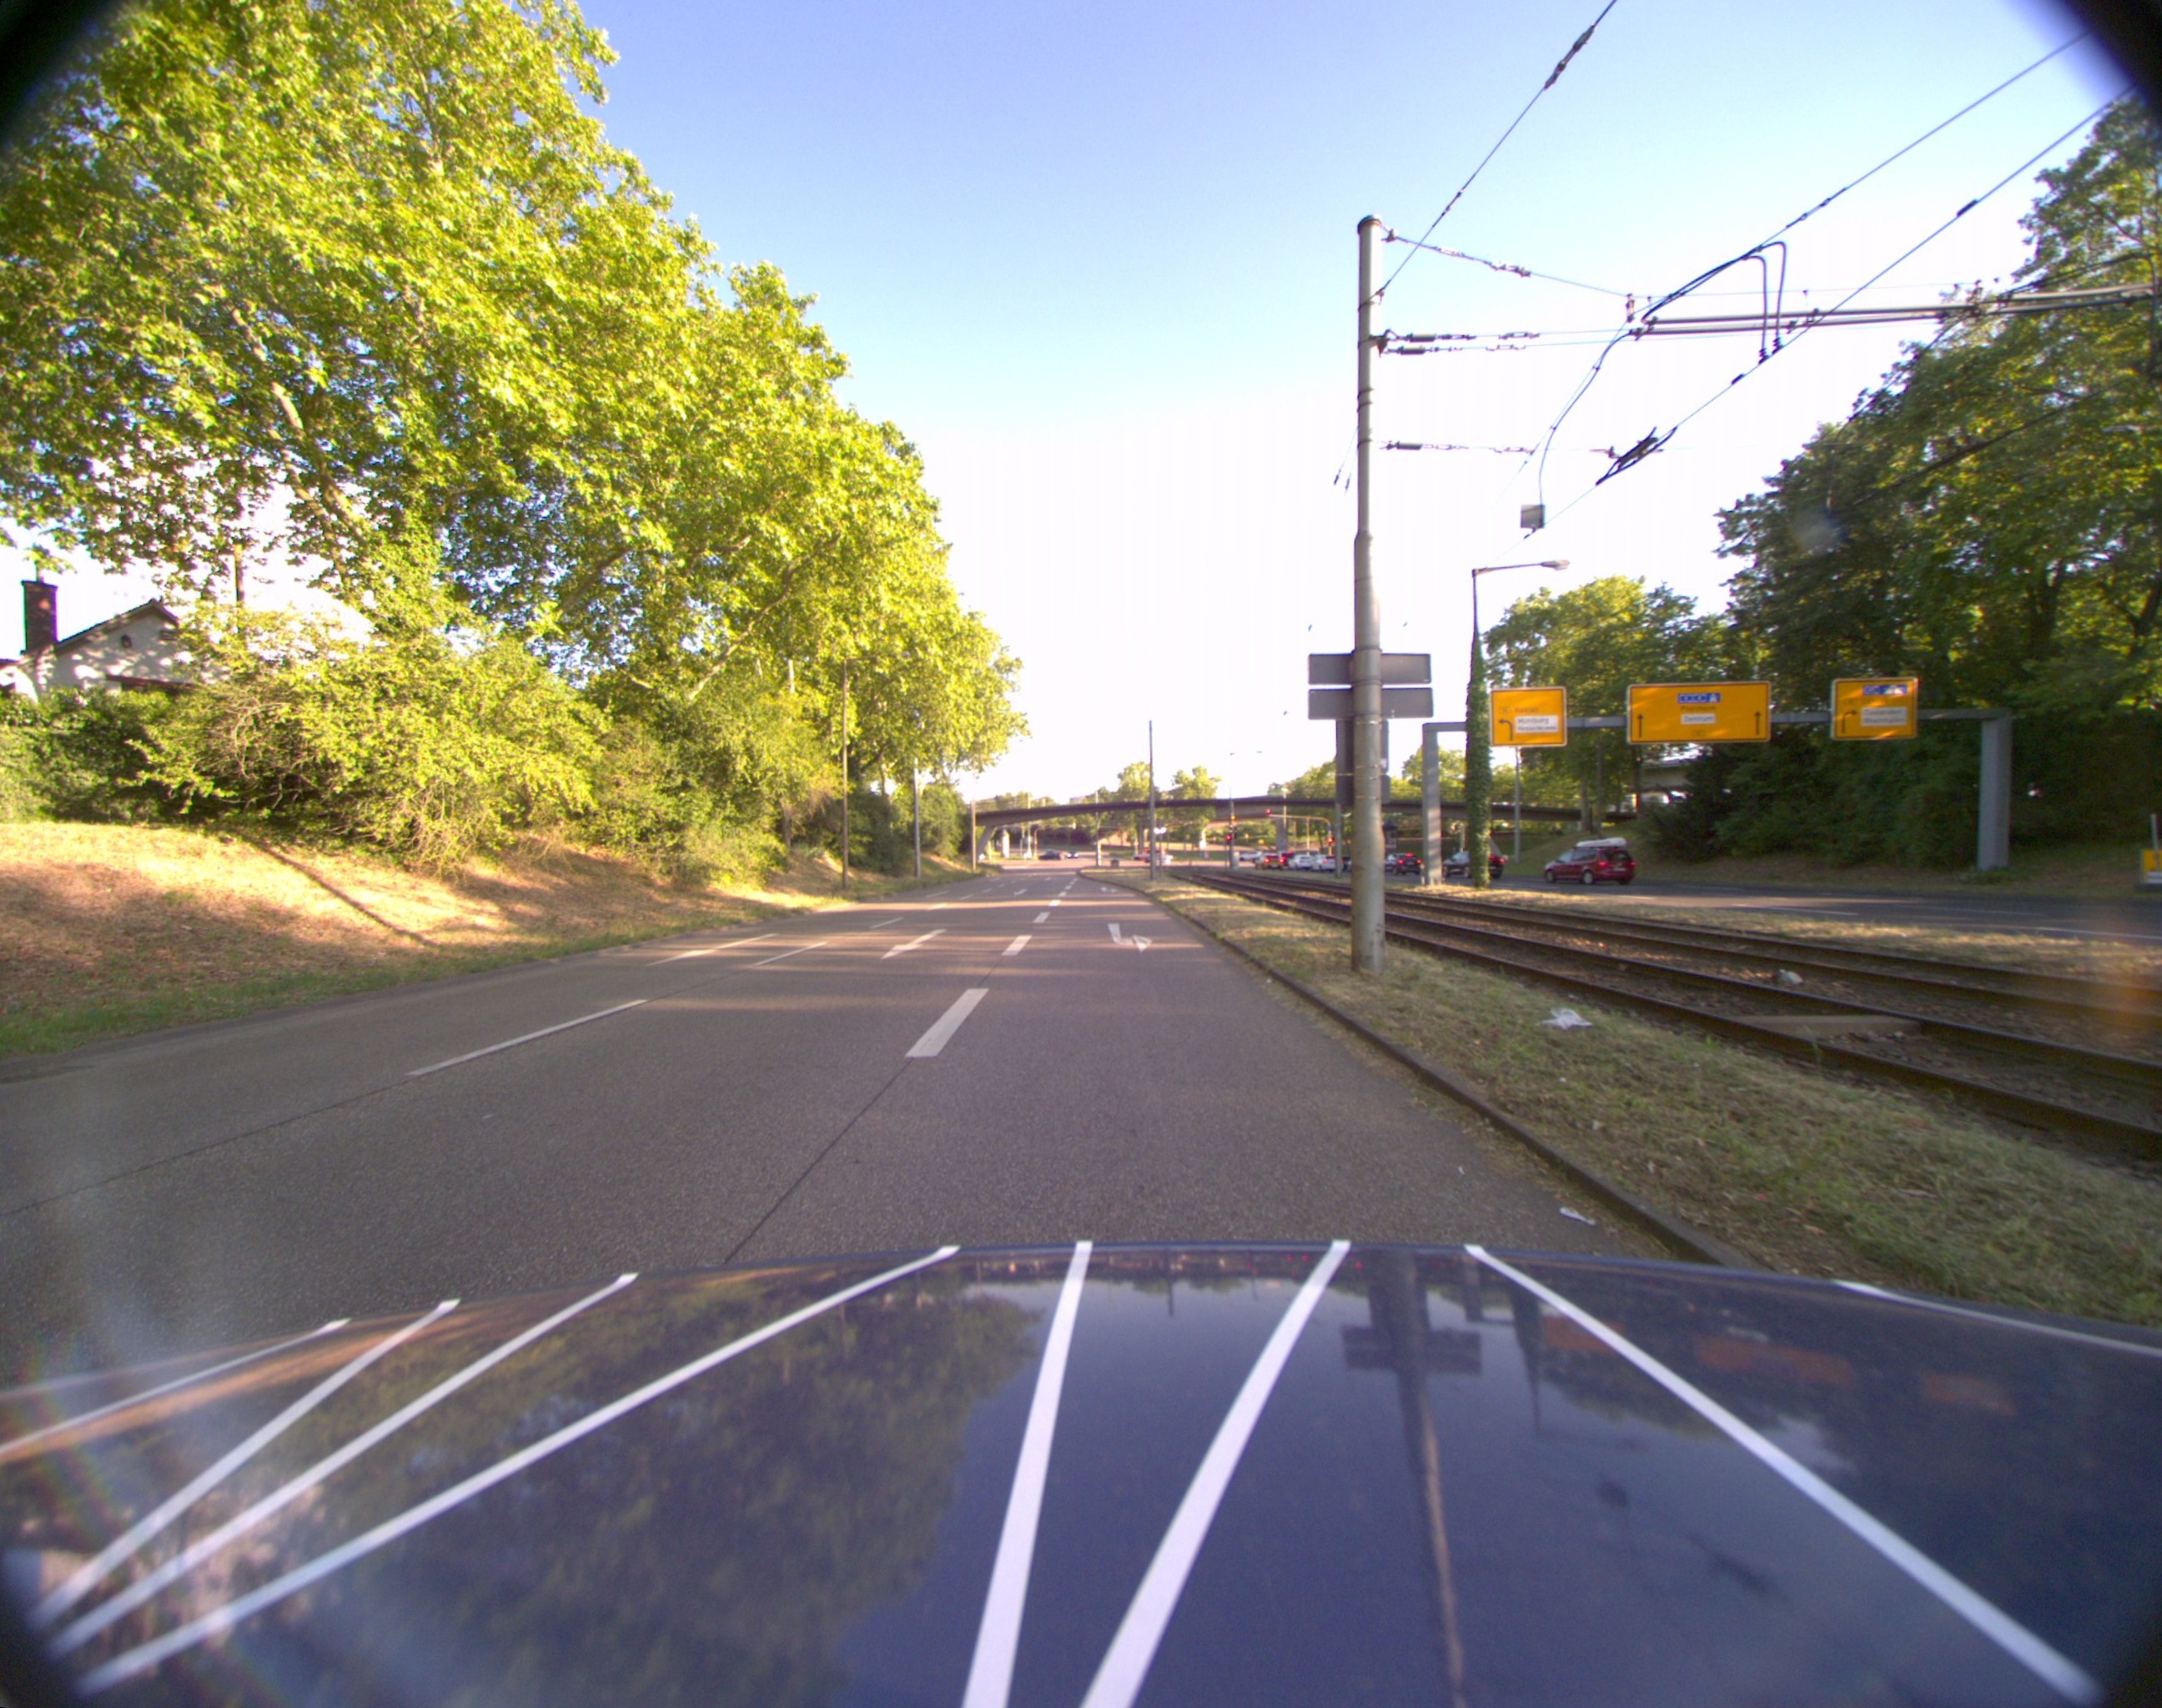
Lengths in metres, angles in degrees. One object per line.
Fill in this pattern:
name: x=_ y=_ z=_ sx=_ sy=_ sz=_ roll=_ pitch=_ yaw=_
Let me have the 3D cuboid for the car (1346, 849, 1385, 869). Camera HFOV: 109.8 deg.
car: x=23.970 y=0.402 z=64.064 sx=1.813 sy=1.535 sz=4.000 roll=-1 pitch=0 yaw=1

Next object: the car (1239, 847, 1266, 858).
car: x=26.366 y=-0.183 z=116.605 sx=3.785 sy=1.491 sz=1.766 roll=-2 pitch=1 yaw=18

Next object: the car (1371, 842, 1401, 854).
car: x=42.664 y=-0.827 z=106.258 sx=3.804 sy=1.570 sz=1.679 roll=-2 pitch=1 yaw=24

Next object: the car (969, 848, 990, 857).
car: x=-18.034 y=-0.311 z=134.839 sx=3.364 sy=1.560 sz=1.613 roll=-2 pitch=0 yaw=17

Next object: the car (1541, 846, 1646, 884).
car: x=23.094 y=0.460 z=34.472 sx=1.842 sy=1.625 sz=4.311 roll=0 pitch=0 yaw=0

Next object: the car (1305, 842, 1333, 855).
car: x=34.582 y=-0.777 z=110.519 sx=3.805 sy=1.717 sz=1.679 roll=-2 pitch=1 yaw=20

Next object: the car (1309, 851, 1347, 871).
car: x=20.031 y=0.533 z=61.797 sx=1.767 sy=1.535 sz=4.000 roll=-1 pitch=0 yaw=0

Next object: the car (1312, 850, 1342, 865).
car: x=24.953 y=0.362 z=77.159 sx=1.917 sy=1.416 sz=4.228 roll=-1 pitch=0 yaw=5

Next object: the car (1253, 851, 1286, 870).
car: x=16.151 y=0.498 z=65.228 sx=1.767 sy=1.535 sz=4.000 roll=-1 pitch=0 yaw=0

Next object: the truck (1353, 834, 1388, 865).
truck: x=28.386 y=-0.448 z=74.791 sx=2.281 sy=2.862 sz=6.886 roll=-1 pitch=0 yaw=13

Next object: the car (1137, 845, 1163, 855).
car: x=11.163 y=-0.648 z=122.540 sx=3.868 sy=1.403 sz=1.814 roll=-2 pitch=1 yaw=20

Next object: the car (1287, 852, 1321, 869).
car: x=19.920 y=0.549 z=68.076 sx=1.918 sy=1.416 sz=4.227 roll=-1 pitch=0 yaw=2

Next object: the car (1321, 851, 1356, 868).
car: x=23.742 y=0.488 z=70.201 sx=1.868 sy=1.416 sz=4.226 roll=-1 pitch=0 yaw=0

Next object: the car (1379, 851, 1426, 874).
car: x=23.153 y=0.580 z=54.854 sx=1.755 sy=1.548 sz=3.973 roll=0 pitch=0 yaw=1

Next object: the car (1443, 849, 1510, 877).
car: x=23.004 y=0.496 z=44.358 sx=1.735 sy=1.536 sz=4.334 roll=-1 pitch=0 yaw=1

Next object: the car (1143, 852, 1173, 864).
car: x=11.020 y=0.541 z=108.713 sx=3.797 sy=1.491 sz=1.760 roll=-3 pitch=1 yaw=-27

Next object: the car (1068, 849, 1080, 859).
car: x=-1.252 y=0.009 z=141.871 sx=1.905 sy=1.726 sz=3.998 roll=-2 pitch=0 yaw=-5

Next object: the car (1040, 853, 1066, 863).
car: x=-4.766 y=0.695 z=128.818 sx=3.868 sy=1.655 sz=1.814 roll=-2 pitch=1 yaw=21

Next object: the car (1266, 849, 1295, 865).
car: x=19.585 y=0.254 z=74.733 sx=1.917 sy=1.540 sz=4.227 roll=-1 pitch=0 yaw=4
